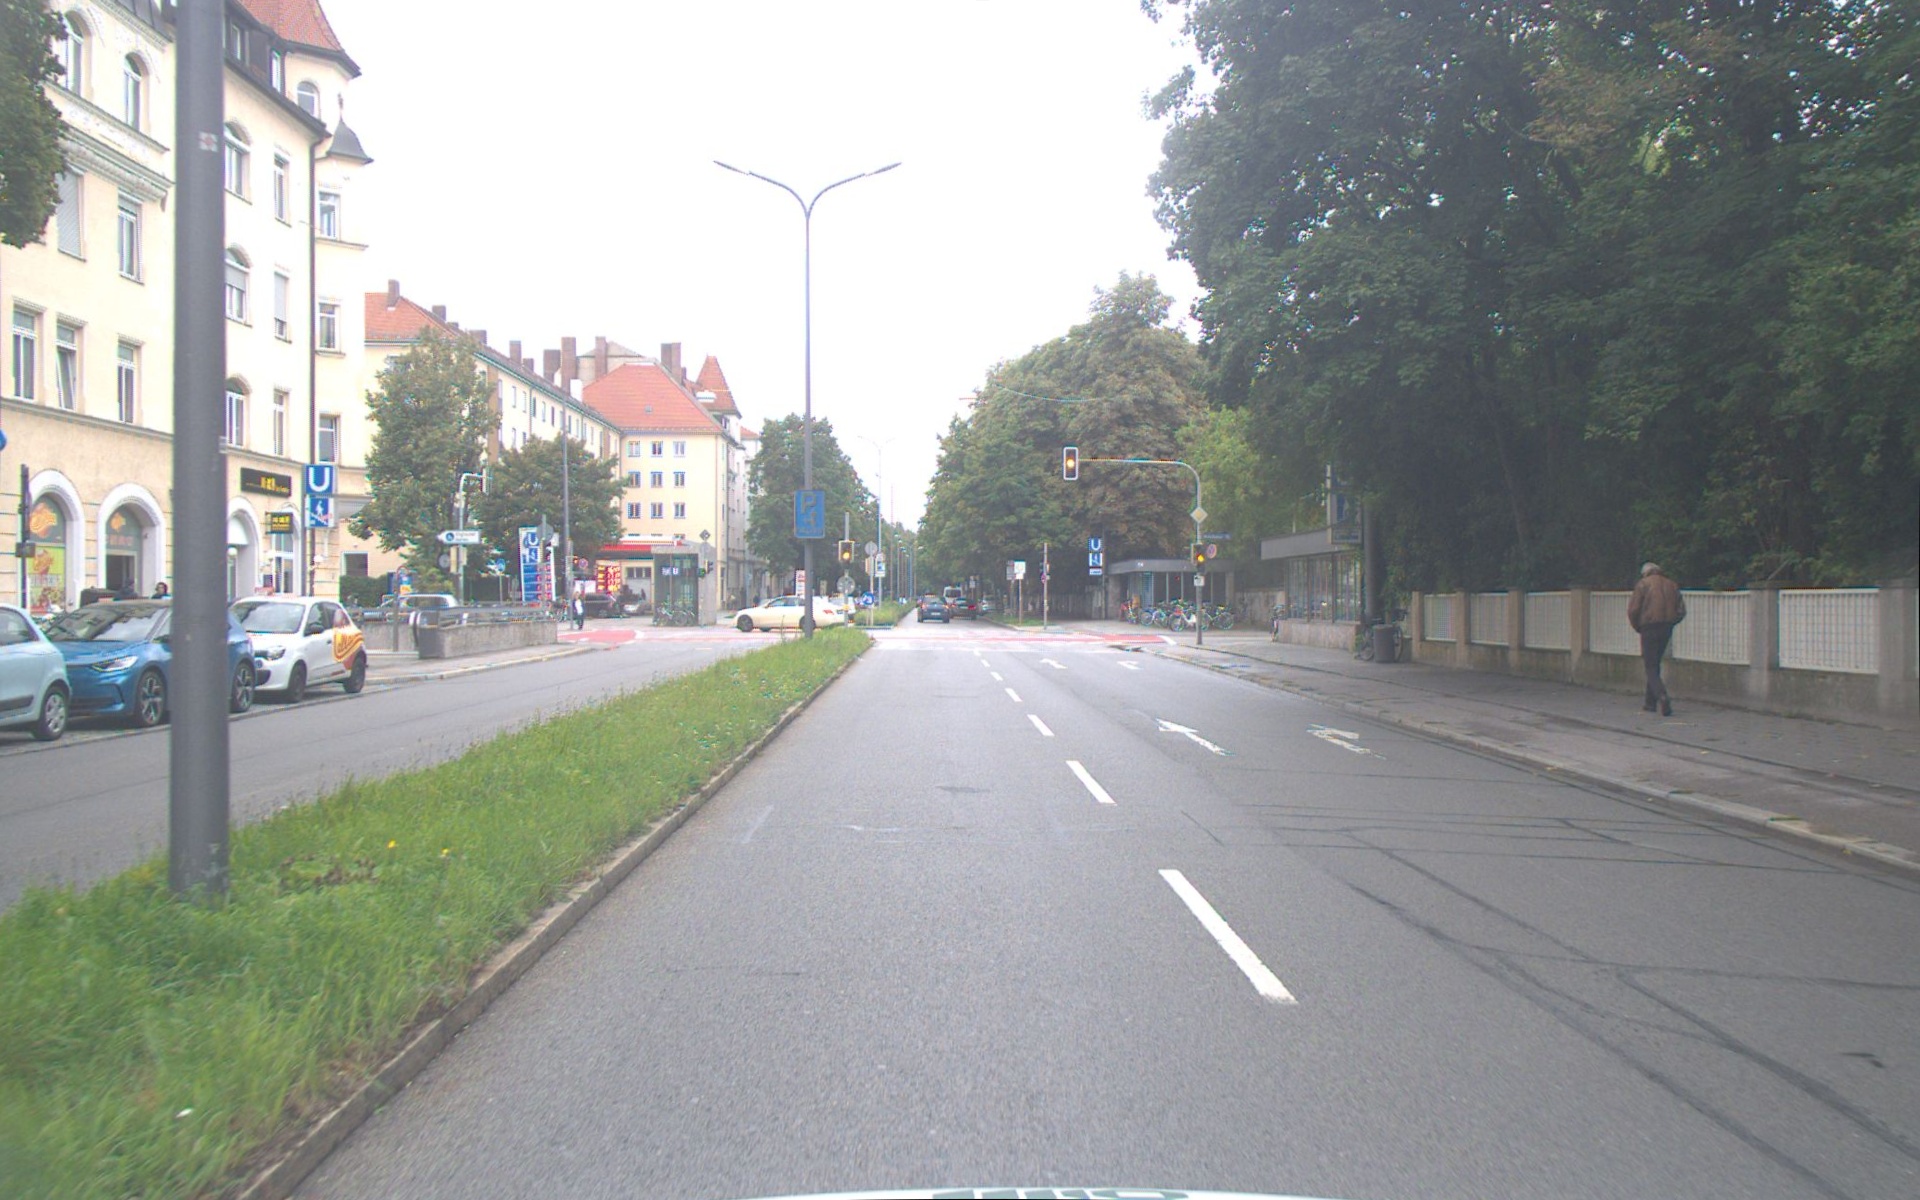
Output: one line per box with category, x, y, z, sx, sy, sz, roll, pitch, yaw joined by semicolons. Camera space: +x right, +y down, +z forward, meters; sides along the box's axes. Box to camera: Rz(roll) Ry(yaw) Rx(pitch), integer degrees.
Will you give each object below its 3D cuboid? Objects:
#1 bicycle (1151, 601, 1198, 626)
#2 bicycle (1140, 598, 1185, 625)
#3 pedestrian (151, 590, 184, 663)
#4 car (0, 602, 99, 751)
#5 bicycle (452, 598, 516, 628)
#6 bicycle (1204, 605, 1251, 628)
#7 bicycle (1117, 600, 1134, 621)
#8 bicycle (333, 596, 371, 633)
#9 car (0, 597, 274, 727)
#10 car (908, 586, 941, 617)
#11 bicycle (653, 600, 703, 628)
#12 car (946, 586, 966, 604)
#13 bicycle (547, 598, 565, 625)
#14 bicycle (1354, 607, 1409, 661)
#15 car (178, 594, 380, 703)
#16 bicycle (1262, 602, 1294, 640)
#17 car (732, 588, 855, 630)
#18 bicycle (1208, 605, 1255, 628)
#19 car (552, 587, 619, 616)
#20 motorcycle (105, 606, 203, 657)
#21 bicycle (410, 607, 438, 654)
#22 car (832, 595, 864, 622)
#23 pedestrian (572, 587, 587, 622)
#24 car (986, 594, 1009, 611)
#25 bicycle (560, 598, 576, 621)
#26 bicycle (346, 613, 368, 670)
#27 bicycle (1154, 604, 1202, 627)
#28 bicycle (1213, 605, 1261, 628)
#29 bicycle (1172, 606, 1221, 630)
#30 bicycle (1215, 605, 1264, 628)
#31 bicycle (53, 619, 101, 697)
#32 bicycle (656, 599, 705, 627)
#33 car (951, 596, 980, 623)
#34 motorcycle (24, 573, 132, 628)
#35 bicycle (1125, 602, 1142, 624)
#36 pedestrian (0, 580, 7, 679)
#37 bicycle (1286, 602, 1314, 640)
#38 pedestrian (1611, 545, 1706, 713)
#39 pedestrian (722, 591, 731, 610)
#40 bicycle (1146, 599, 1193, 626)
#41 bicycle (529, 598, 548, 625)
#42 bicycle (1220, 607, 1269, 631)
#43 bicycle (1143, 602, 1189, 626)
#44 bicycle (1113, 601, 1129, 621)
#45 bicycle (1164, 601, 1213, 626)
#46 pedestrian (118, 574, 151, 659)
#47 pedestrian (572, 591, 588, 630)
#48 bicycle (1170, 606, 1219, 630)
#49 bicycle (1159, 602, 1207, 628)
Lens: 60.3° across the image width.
bicycle;9.694;0.620;74.748;2.097;1.105;0.603;0;0;7
bicycle;9.514;0.546;77.873;2.097;1.240;0.603;0;0;7
pedestrian;-18.298;0.608;38.206;0.413;1.660;0.782;0;0;-4
car;-10.782;0.791;17.065;1.774;1.533;3.959;0;0;-1
bicycle;-21.710;0.609;75.500;2.677;1.273;0.785;2;-1;-32
bicycle;12.183;0.739;75.432;2.097;1.032;0.634;0;0;7
bicycle;8.302;0.532;83.095;0.545;1.032;2.014;0;0;-3
bicycle;-16.372;0.382;44.546;0.463;0.998;1.545;0;0;-1
car;-10.727;0.730;21.658;1.774;1.533;4.290;0;0;-1
car;-2.022;0.049;93.678;1.819;1.713;3.999;0;0;-1
bicycle;-13.434;0.650;78.770;2.225;1.327;0.704;0;0;0
car;-0.417;-0.512;169.675;1.953;1.787;3.999;0;0;-2
bicycle;-19.562;0.539;80.124;0.596;1.257;2.183;0;0;-7
bicycle;8.961;0.710;35.236;0.609;1.109;2.025;0;0;-1
car;-10.731;0.713;26.336;1.615;1.613;3.790;0;0;1
bicycle;9.689;0.647;50.399;0.587;1.141;1.889;0;-1;-1
car;-6.755;0.348;67.140;4.668;1.675;1.784;0;0;23
bicycle;12.252;0.738;74.649;2.097;1.032;0.634;0;0;7
car;-23.916;0.084;105.611;3.908;1.870;1.879;0;0;-4
motorcycle;-18.622;0.713;38.255;0.598;1.142;1.977;0;-1;38
bicycle;-13.475;0.756;41.590;0.388;1.135;1.810;0;0;-9
car;-6.456;0.451;95.659;1.724;1.519;3.999;0;0;-1
pedestrian;-18.776;0.210;81.601;0.584;1.725;0.571;0;0;-32
car;3.047;0.204;133.969;1.708;1.387;3.805;0;0;-1
bicycle;-19.983;0.484;84.262;0.596;1.165;1.962;0;0;-7
bicycle;-12.477;0.847;34.214;0.325;1.135;1.668;0;0;-24
bicycle;9.759;0.675;74.109;2.097;1.032;0.603;0;0;7
bicycle;12.347;0.738;73.857;2.097;1.032;0.634;0;0;7
bicycle;10.282;0.767;71.945;2.097;1.032;0.634;0;0;7
bicycle;12.357;0.732;73.089;2.097;1.032;0.634;0;0;7
bicycle;-13.849;0.888;25.924;0.542;1.135;1.860;0;0;-32
bicycle;-13.425;0.637;79.550;2.238;1.327;0.694;0;0;0
car;0.365;0.637;112.279;1.884;1.713;3.999;2;0;-1
motorcycle;-19.020;0.025;35.691;0.598;1.150;1.977;0;-1;38
bicycle;8.430;0.630;80.370;0.545;1.032;2.014;0;0;-3
pedestrian;-16.934;0.513;28.565;0.532;1.726;0.770;0;0;-3
bicycle;10.362;0.642;50.432;0.459;1.141;1.735;0;-1;-1
pedestrian;8.466;0.341;20.069;0.762;1.976;0.802;-1;0;-1
pedestrian;-20.863;0.023;147.556;0.682;1.666;0.738;0;0;-1
bicycle;9.562;0.567;75.572;2.097;1.199;0.603;0;0;7
bicycle;-20.191;0.538;79.283;0.596;1.257;2.183;0;0;-7
bicycle;12.424;0.832;72.293;2.097;1.032;0.634;0;0;7
bicycle;9.518;0.653;76.272;2.097;1.080;0.603;0;0;7
bicycle;8.405;0.550;86.405;0.545;1.032;2.014;0;0;-3
bicycle;10.064;0.586;72.871;2.097;1.089;0.603;0;0;7
pedestrian;-17.032;0.333;34.106;0.585;1.726;0.937;0;0;-29
pedestrian;-16.815;0.457;73.131;0.523;1.725;0.577;0;0;7
bicycle;10.099;0.779;71.316;2.097;1.032;0.603;0;0;7
bicycle;9.901;0.669;73.397;2.097;1.120;0.603;0;0;7
